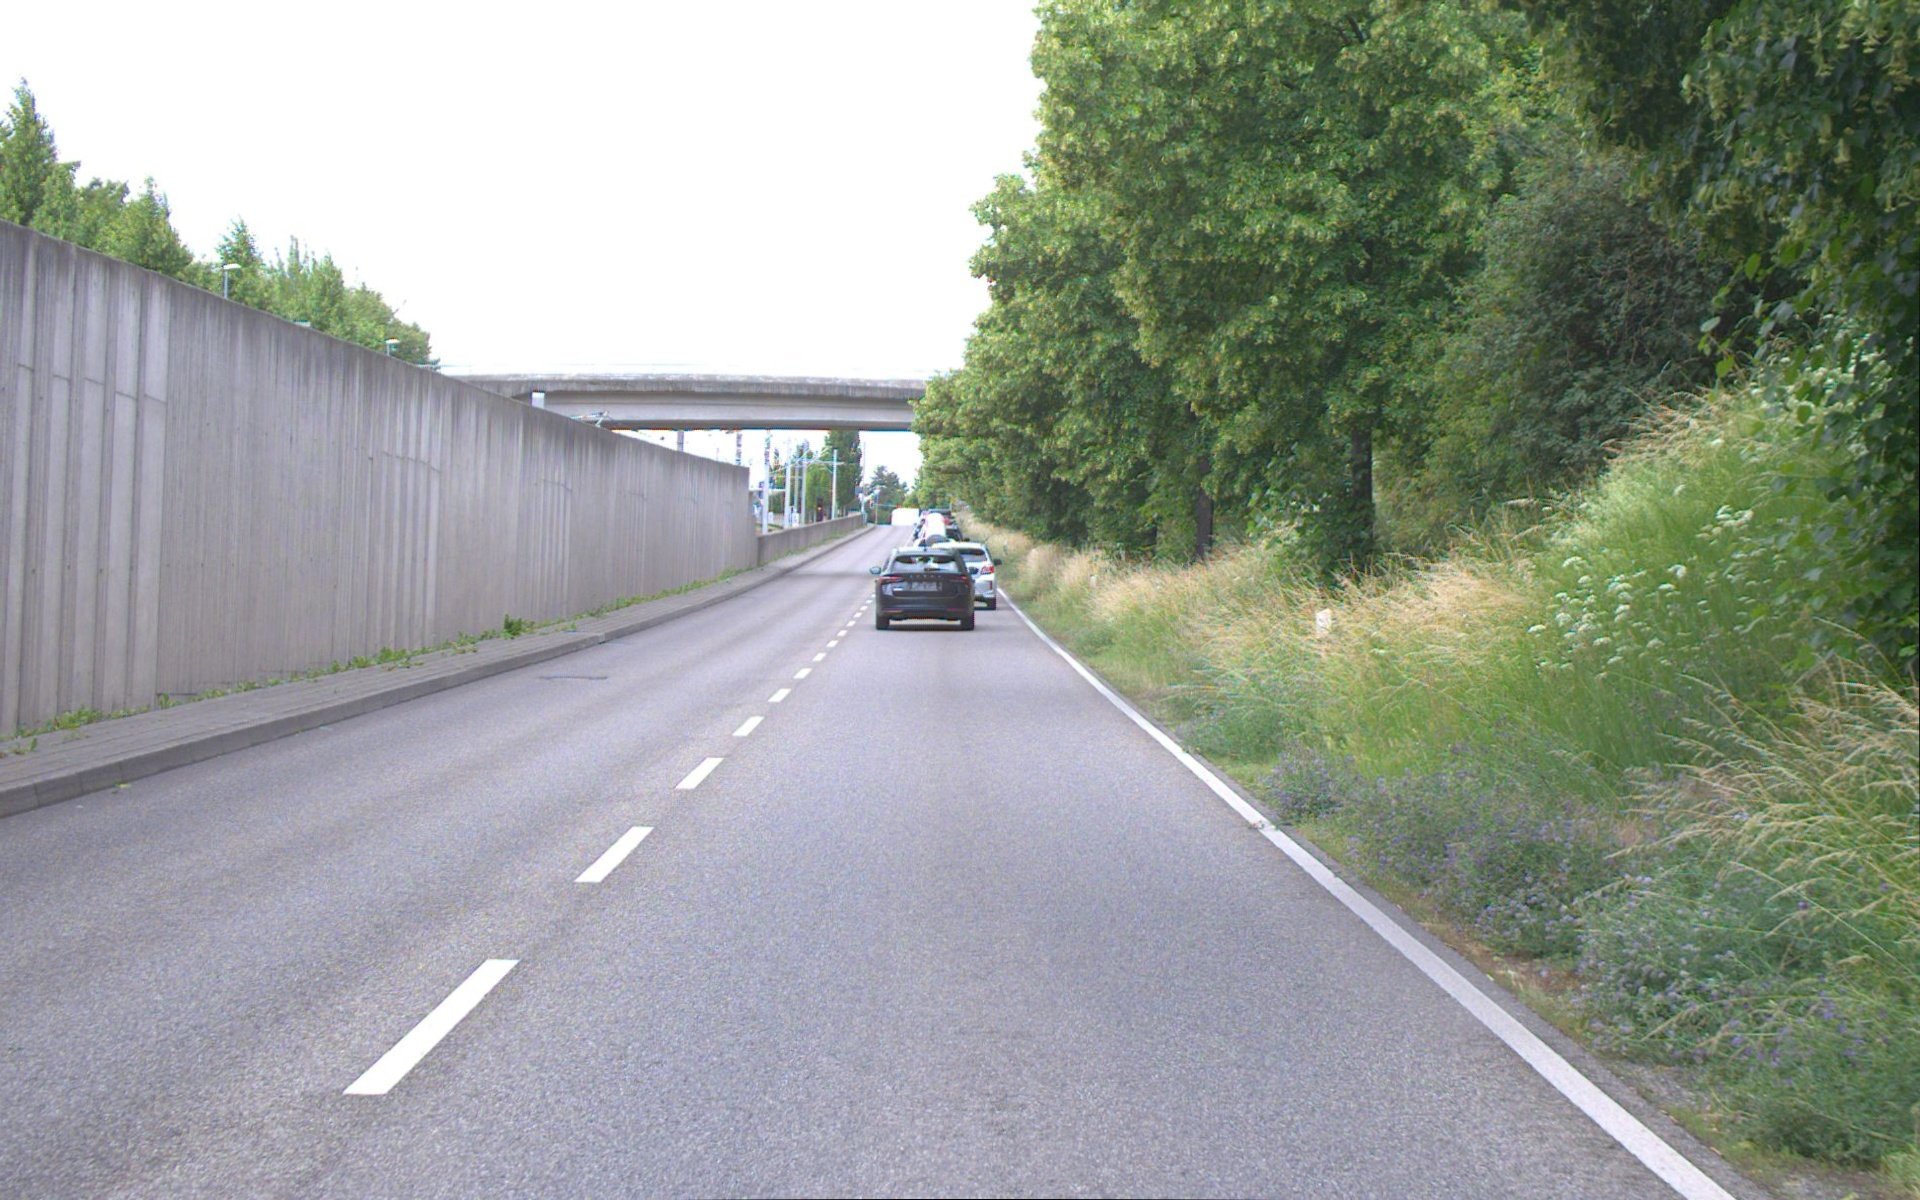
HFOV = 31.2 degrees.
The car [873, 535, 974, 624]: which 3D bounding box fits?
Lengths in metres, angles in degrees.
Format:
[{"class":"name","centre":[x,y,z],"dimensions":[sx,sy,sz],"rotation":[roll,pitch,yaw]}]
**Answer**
[{"class":"car","centre":[-0.665,-0.398,61.721],"dimensions":[1.754,1.518,4.037],"rotation":[0,1,-1]}]

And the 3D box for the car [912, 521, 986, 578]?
[{"class":"car","centre":[-0.334,-1.447,98.087],"dimensions":[1.866,1.485,4.257],"rotation":[4,1,-2]}]

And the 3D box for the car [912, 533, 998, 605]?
[{"class":"car","centre":[-0.137,-0.691,76.883],"dimensions":[1.754,1.518,4.037],"rotation":[-1,1,-2]}]
